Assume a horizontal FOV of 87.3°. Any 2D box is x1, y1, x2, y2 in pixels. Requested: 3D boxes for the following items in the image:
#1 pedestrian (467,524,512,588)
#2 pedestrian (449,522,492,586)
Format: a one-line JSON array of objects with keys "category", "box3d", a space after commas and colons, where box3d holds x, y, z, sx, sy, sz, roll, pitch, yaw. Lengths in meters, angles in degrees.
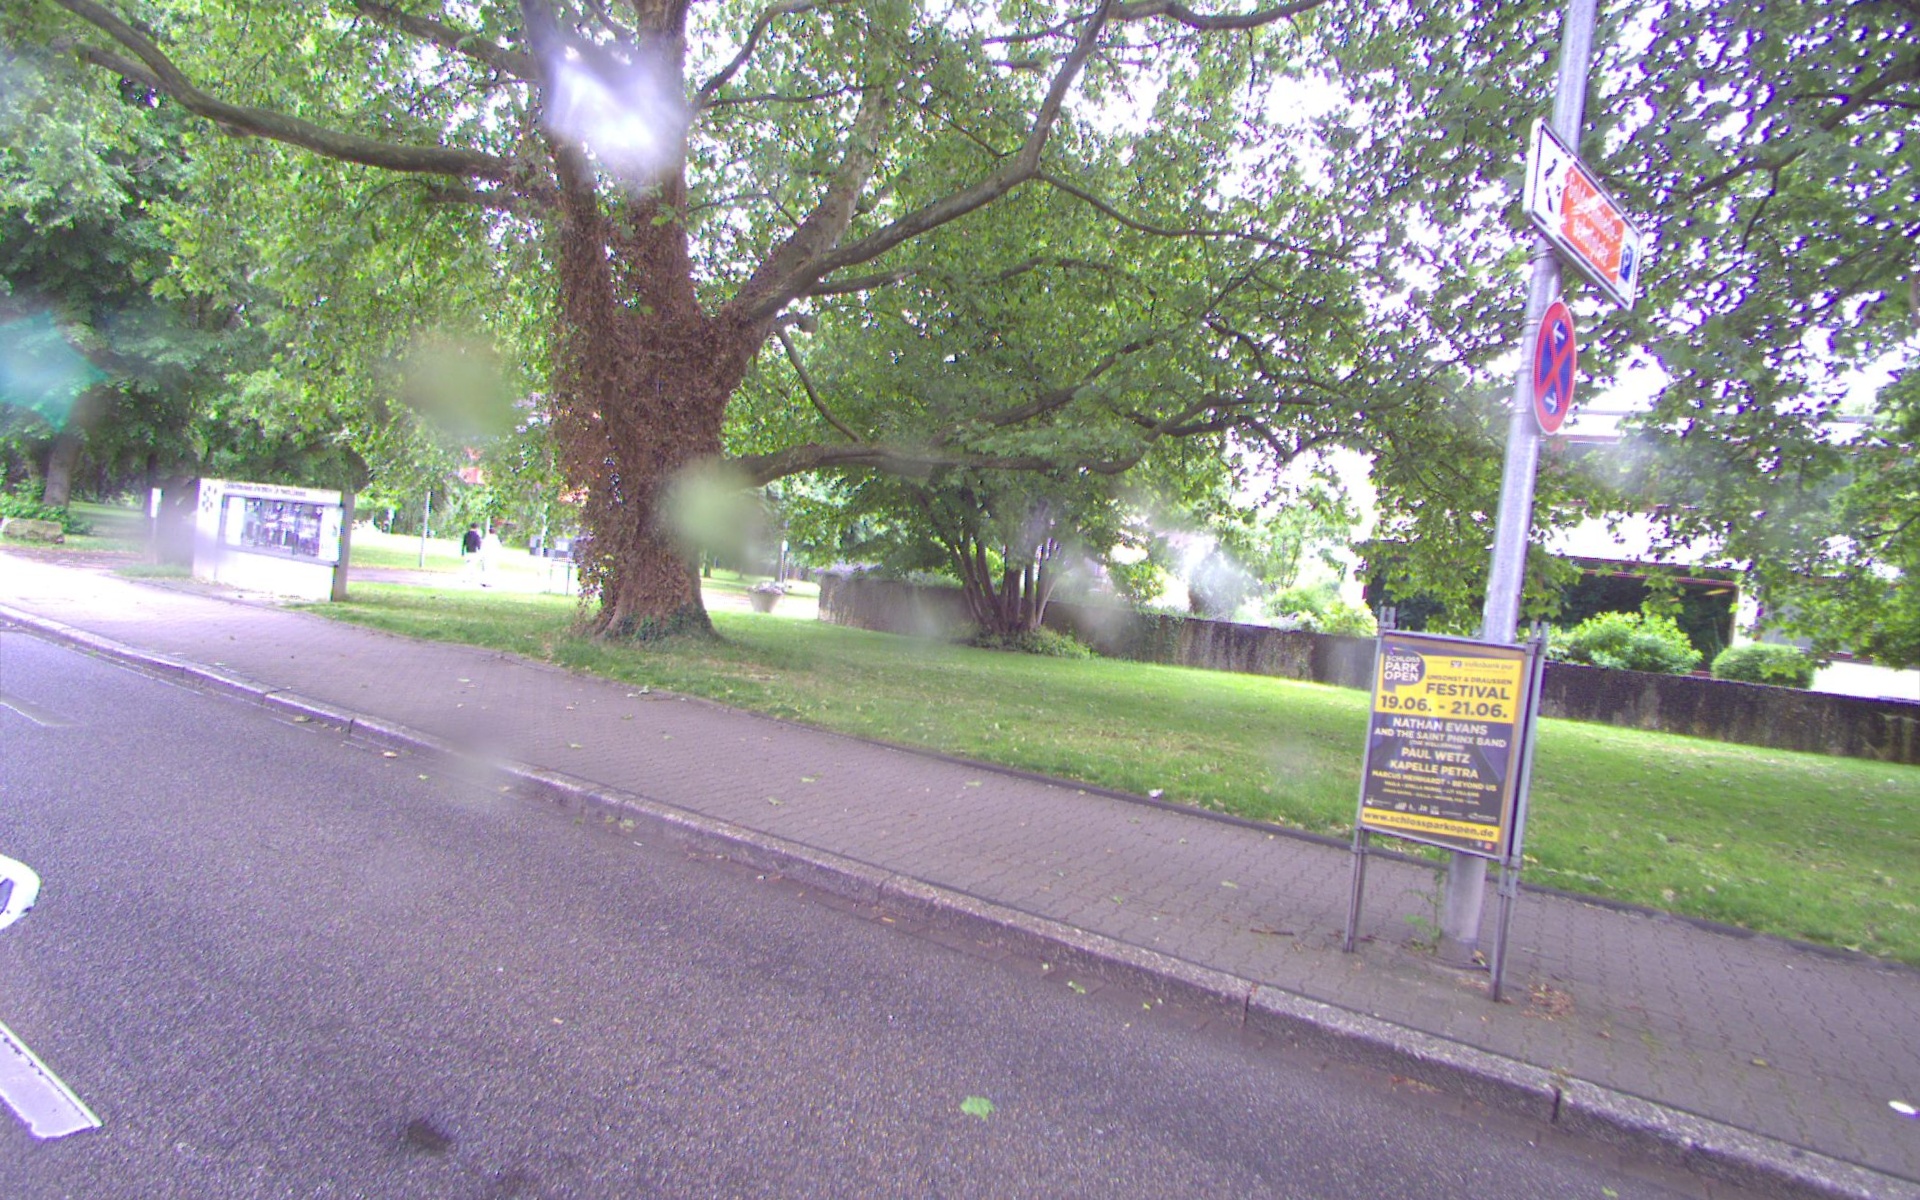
[{"category": "pedestrian", "box3d": [-13.691, -1.275, 29.276, 0.776, 1.732, 0.666, 7, -1, 23]}, {"category": "pedestrian", "box3d": [-14.689, -1.372, 30.166, 0.711, 1.776, 0.666, 7, -1, 23]}]
